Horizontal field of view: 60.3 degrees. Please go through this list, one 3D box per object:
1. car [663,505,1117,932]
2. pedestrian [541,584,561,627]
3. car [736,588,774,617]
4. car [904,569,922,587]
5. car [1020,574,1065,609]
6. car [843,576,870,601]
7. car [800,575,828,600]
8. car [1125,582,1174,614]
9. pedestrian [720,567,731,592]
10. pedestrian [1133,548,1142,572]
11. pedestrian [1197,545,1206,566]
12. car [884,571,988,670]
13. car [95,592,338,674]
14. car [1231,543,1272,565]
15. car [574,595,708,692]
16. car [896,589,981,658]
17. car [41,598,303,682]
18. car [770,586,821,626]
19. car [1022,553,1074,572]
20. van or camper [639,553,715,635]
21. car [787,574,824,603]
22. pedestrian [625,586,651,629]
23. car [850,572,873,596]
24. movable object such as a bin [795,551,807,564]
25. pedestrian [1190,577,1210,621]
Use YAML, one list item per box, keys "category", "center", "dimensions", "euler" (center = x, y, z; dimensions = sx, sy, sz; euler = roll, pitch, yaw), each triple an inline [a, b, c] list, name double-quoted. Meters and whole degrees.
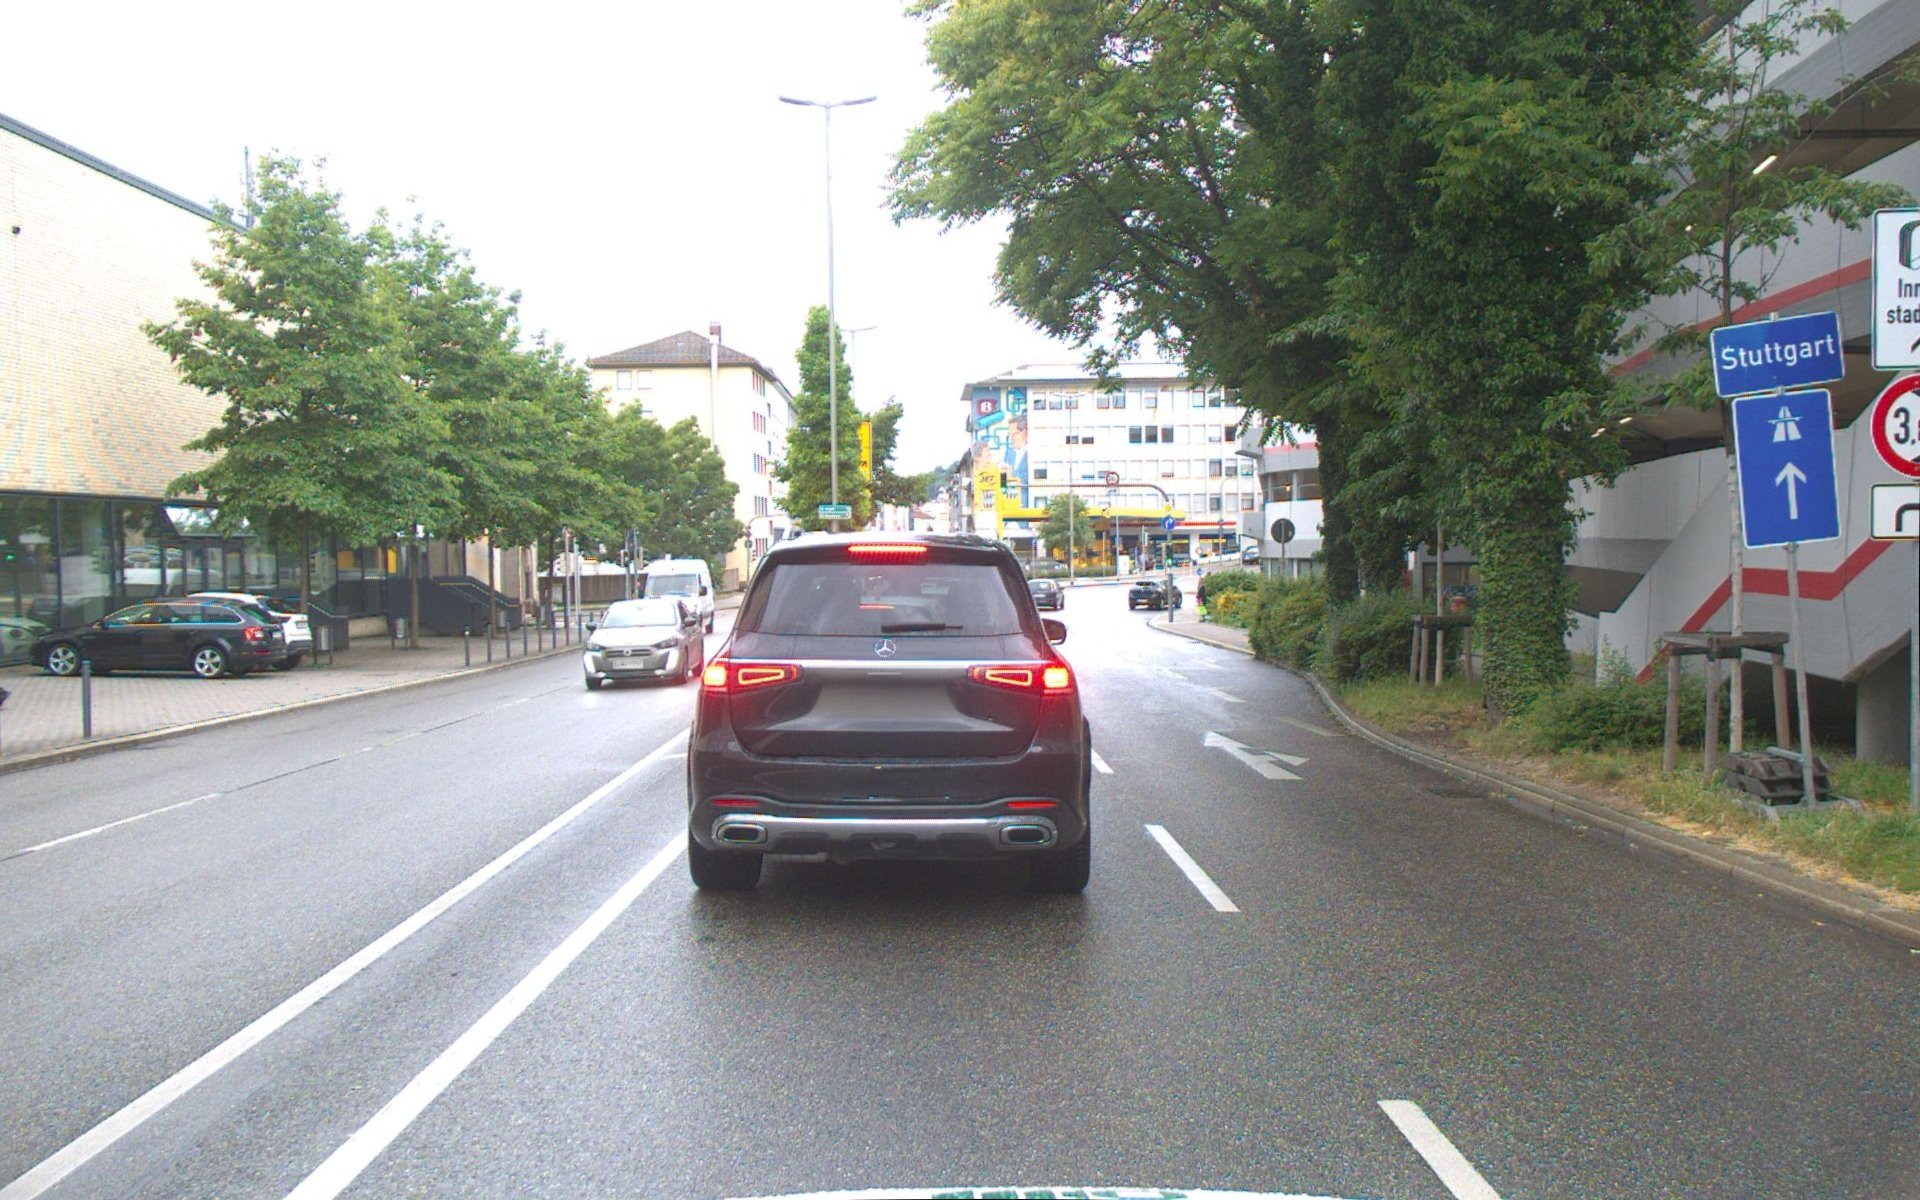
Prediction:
- category: "car"
  center: [-0.332, 0.527, 9.220]
  dimensions: [1.953, 1.832, 3.999]
  euler: [1, 0, -1]
- category: "pedestrian"
  center: [-16.597, 0.227, 67.083]
  dimensions: [0.630, 1.695, 1.017]
  euler: [1, 0, -7]
- category: "car"
  center: [-11.082, 0.133, 89.696]
  dimensions: [1.761, 1.521, 3.801]
  euler: [1, 0, -3]
- category: "car"
  center: [-5.397, -2.500, 189.131]
  dimensions: [1.953, 2.049, 4.000]
  euler: [1, 0, 0]
- category: "car"
  center: [3.959, -0.428, 78.983]
  dimensions: [1.758, 1.552, 4.059]
  euler: [1, 1, 8]
- category: "car"
  center: [-7.517, -0.822, 120.259]
  dimensions: [1.868, 1.733, 3.997]
  euler: [1, 0, -4]
- category: "car"
  center: [-10.503, -0.876, 119.009]
  dimensions: [1.868, 1.733, 3.997]
  euler: [1, 0, -4]
- category: "car"
  center: [9.388, -0.075, 81.650]
  dimensions: [1.904, 1.512, 4.003]
  euler: [1, 0, 13]
- category: "pedestrian"
  center: [-16.182, -1.410, 114.070]
  dimensions: [0.635, 1.757, 0.628]
  euler: [-2, 1, -5]
- category: "pedestrian"
  center: [12.932, -2.883, 120.568]
  dimensions: [0.560, 1.727, 0.631]
  euler: [1, -1, 0]
- category: "pedestrian"
  center: [20.038, -3.679, 137.152]
  dimensions: [0.515, 1.757, 0.689]
  euler: [0, 1, 26]
- category: "car"
  center: [-0.480, 0.401, 33.210]
  dimensions: [1.953, 1.832, 3.999]
  euler: [1, 0, -1]
- category: "car"
  center: [-15.347, 0.668, 34.294]
  dimensions: [4.090, 1.574, 2.000]
  euler: [1, 0, 0]
- category: "car"
  center: [24.499, -3.840, 138.803]
  dimensions: [1.958, 1.735, 3.990]
  euler: [-1, 1, 33]
- category: "car"
  center: [-5.496, 0.709, 28.924]
  dimensions: [1.706, 1.496, 3.880]
  euler: [-2, 0, -3]
- category: "car"
  center: [-0.510, 0.538, 39.126]
  dimensions: [1.869, 1.527, 3.999]
  euler: [1, 0, -1]
- category: "car"
  center: [-15.146, 0.754, 31.993]
  dimensions: [4.097, 1.521, 1.997]
  euler: [1, 0, -8]
- category: "car"
  center: [-6.762, 0.240, 68.502]
  dimensions: [1.846, 1.524, 4.559]
  euler: [-2, 0, -3]
- category: "car"
  center: [6.848, -2.913, 128.671]
  dimensions: [1.724, 1.400, 3.935]
  euler: [-3, 2, -44]
- category: "van or camper"
  center: [-9.841, -0.218, 57.914]
  dimensions: [2.061, 2.627, 5.902]
  euler: [-2, 0, -5]
- category: "car"
  center: [-8.436, -0.606, 90.480]
  dimensions: [1.776, 1.487, 4.285]
  euler: [-3, 0, -3]
- category: "pedestrian"
  center: [-13.144, 0.288, 67.497]
  dimensions: [0.931, 1.734, 0.709]
  euler: [1, -1, -18]
- category: "car"
  center: [-8.227, -1.318, 138.451]
  dimensions: [1.830, 1.871, 3.818]
  euler: [1, 0, -2]
- category: "movable object such as a bin"
  center: [-13.550, -3.640, 141.017]
  dimensions: [0.891, 1.056, 0.844]
  euler: [1, 0, 0]
- category: "pedestrian"
  center: [9.483, -0.049, 65.473]
  dimensions: [0.634, 1.740, 0.470]
  euler: [0, -1, 35]
